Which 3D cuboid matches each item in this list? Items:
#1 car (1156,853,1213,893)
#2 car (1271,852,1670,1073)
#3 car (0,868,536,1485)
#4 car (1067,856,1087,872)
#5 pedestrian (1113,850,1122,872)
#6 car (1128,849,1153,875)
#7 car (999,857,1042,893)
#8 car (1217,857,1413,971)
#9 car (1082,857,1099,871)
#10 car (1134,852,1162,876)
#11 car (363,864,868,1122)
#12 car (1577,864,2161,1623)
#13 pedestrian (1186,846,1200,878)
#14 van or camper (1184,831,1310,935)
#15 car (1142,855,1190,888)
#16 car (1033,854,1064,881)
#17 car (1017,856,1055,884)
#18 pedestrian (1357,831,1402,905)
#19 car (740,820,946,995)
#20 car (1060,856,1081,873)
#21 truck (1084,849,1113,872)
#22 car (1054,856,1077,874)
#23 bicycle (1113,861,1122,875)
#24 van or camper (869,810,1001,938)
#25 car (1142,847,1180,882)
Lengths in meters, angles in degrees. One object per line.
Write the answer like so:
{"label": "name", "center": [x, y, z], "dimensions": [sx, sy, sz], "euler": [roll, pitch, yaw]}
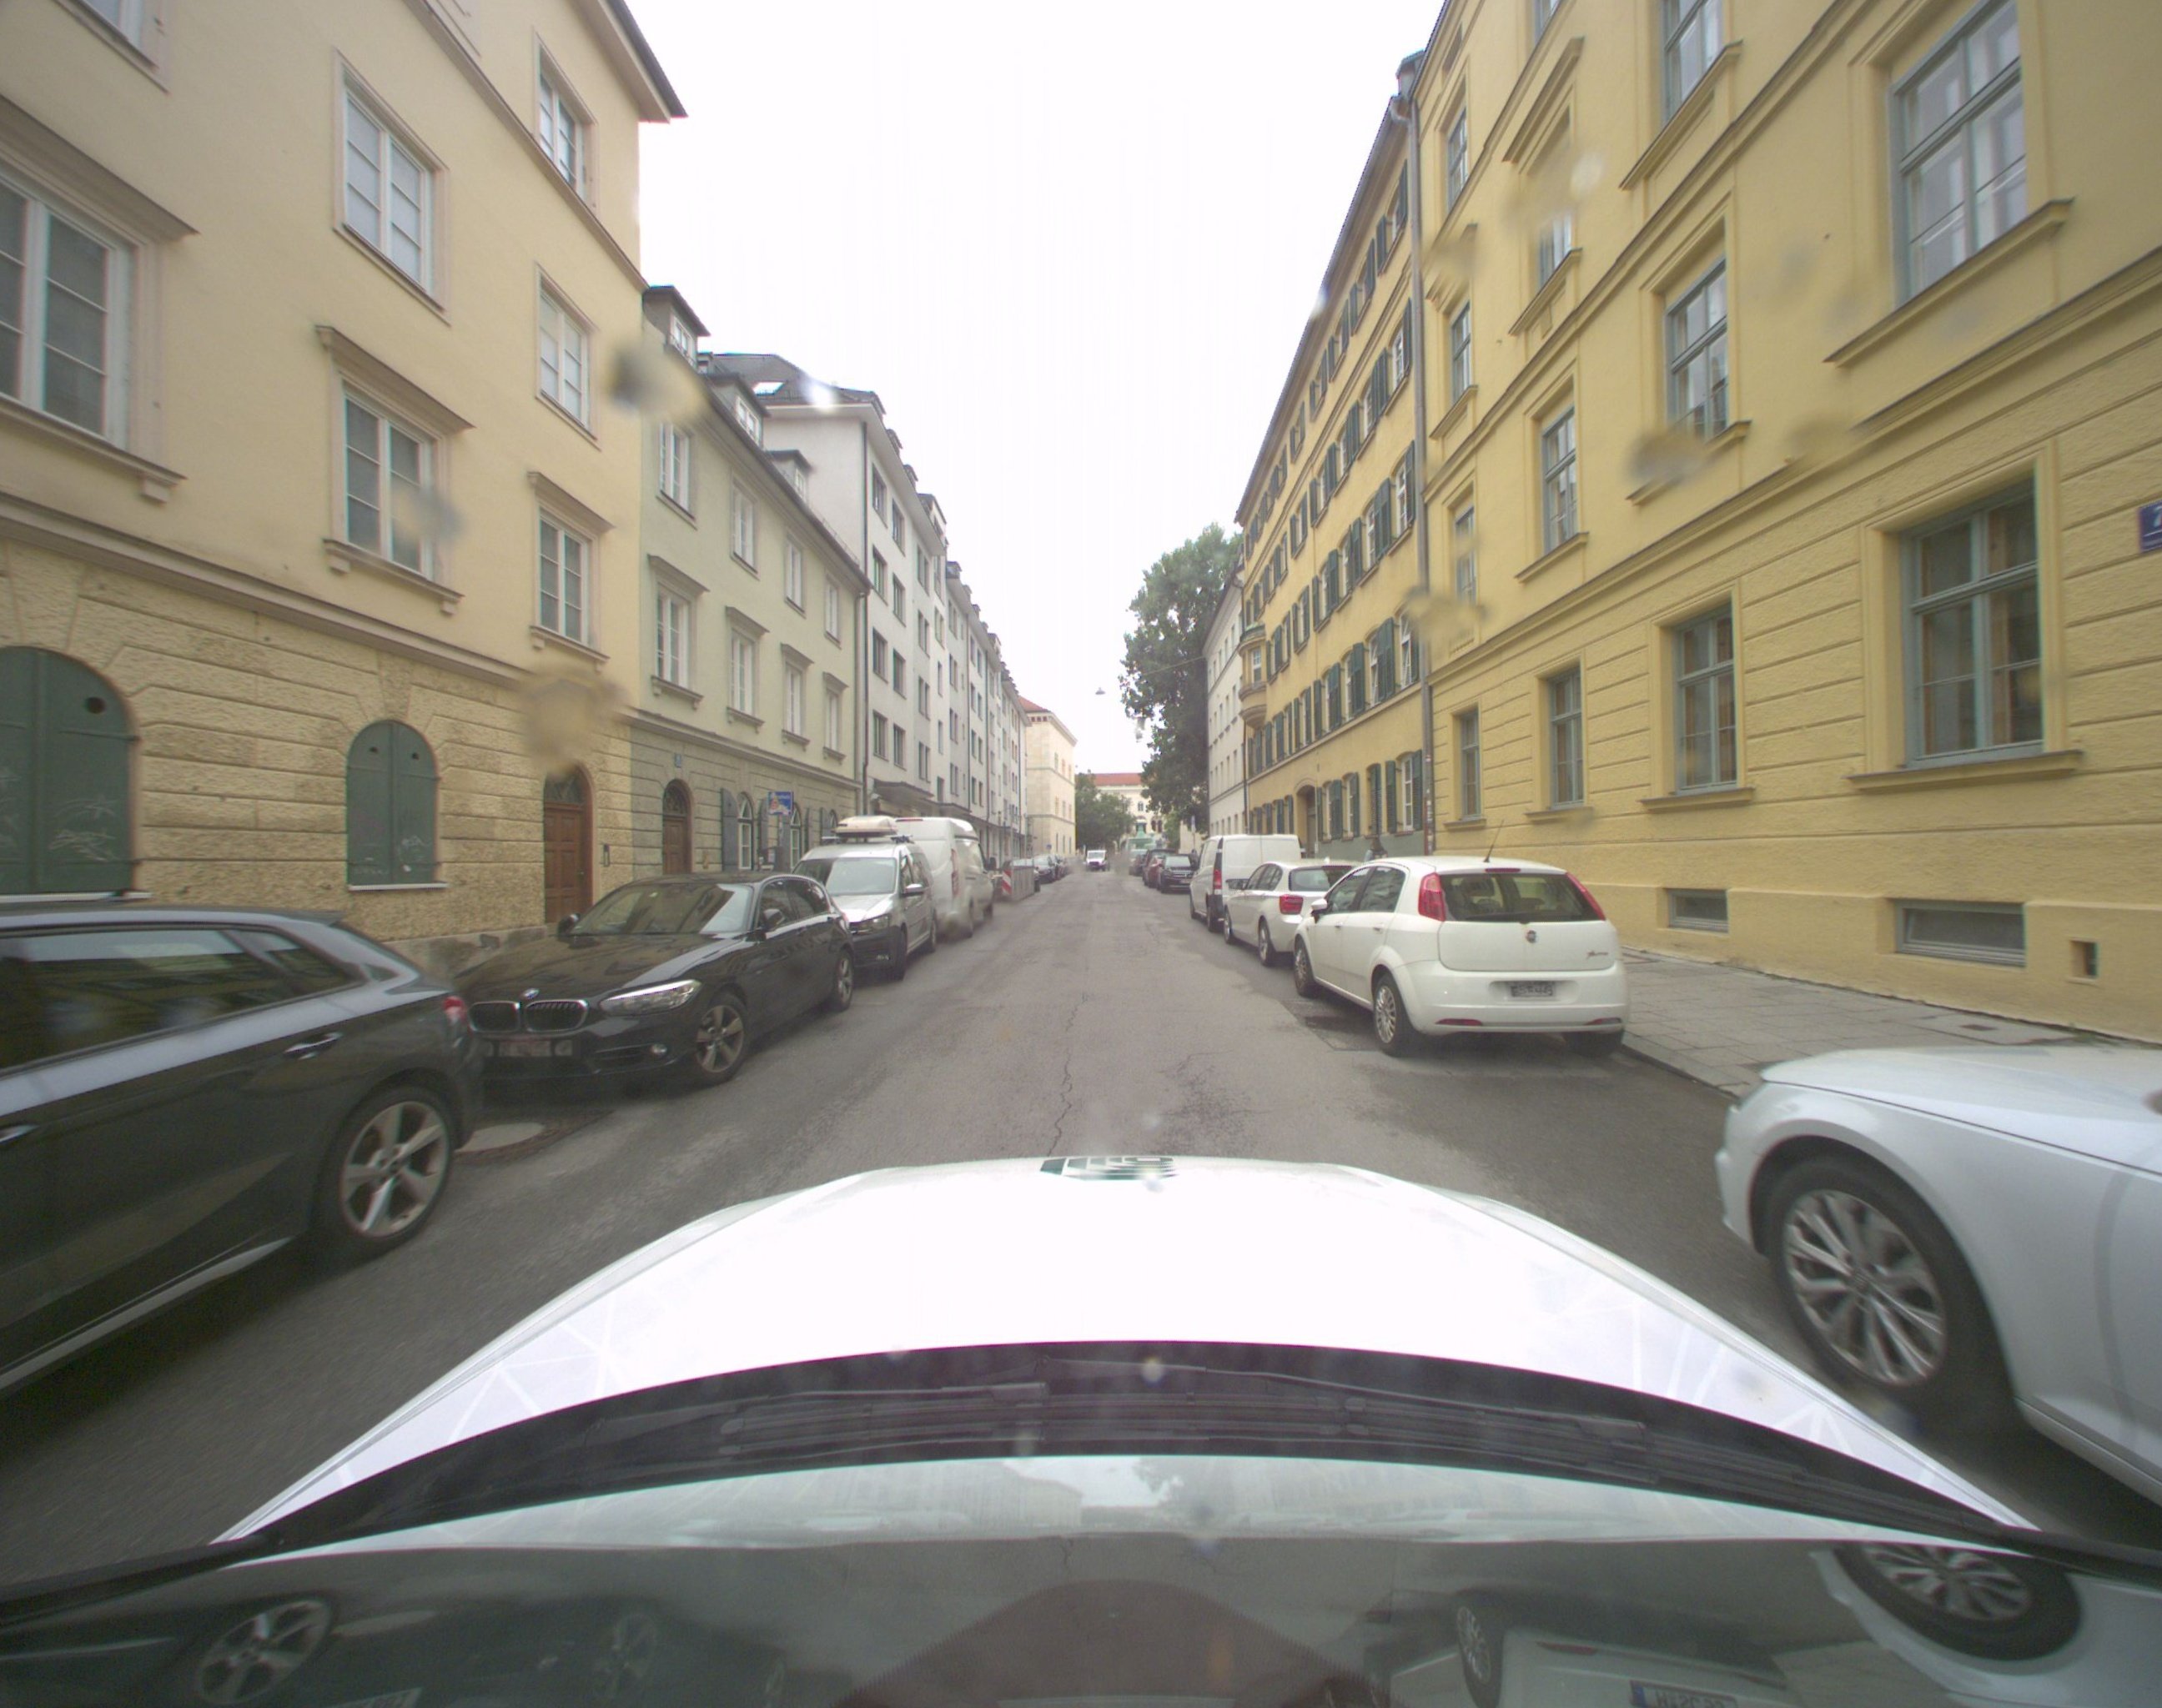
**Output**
{"label": "car", "center": [3.979, 0.698, 31.803], "dimensions": [1.805, 1.465, 4.248], "euler": [0, 0, 2]}
{"label": "car", "center": [3.082, 0.728, 7.488], "dimensions": [1.703, 1.454, 4.095], "euler": [-1, 0, 0]}
{"label": "car", "center": [-3.523, 0.826, 1.863], "dimensions": [1.811, 1.441, 4.128], "euler": [-2, 0, -2]}
{"label": "car", "center": [-0.425, 0.992, 85.057], "dimensions": [1.699, 1.581, 3.867], "euler": [-2, 0, 4]}
{"label": "pedestrian", "center": [2.852, 0.563, 63.813], "dimensions": [0.639, 1.714, 0.843], "euler": [-1, -2, 2]}
{"label": "car", "center": [4.656, 0.636, 64.277], "dimensions": [1.844, 1.919, 4.772], "euler": [-1, 0, 2]}
{"label": "car", "center": [-2.699, 0.875, 35.719], "dimensions": [1.759, 1.410, 4.147], "euler": [-2, 0, -6]}
{"label": "car", "center": [3.247, 0.750, 12.177], "dimensions": [1.703, 1.392, 4.205], "euler": [-1, 0, 0]}
{"label": "car", "center": [1.127, 1.114, 93.607], "dimensions": [1.699, 1.581, 3.867], "euler": [-2, 0, 4]}
{"label": "car", "center": [4.723, 0.728, 58.239], "dimensions": [1.804, 1.614, 4.158], "euler": [-1, 0, 2]}
{"label": "car", "center": [-3.189, 0.815, 6.690], "dimensions": [1.749, 1.409, 4.103], "euler": [-1, 0, 0]}
{"label": "car", "center": [2.878, 0.747, 1.035], "dimensions": [1.701, 1.408, 4.817], "euler": [-1, 0, 2]}
{"label": "pedestrian", "center": [7.206, 0.526, 52.348], "dimensions": [0.667, 1.980, 0.709], "euler": [-4, -2, 2]}
{"label": "van or camper", "center": [3.342, 0.532, 17.384], "dimensions": [1.826, 1.872, 5.081], "euler": [-1, 0, 2]}
{"label": "car", "center": [3.842, 0.754, 37.330], "dimensions": [1.806, 1.424, 4.246], "euler": [0, 0, 0]}
{"label": "car", "center": [-2.011, 0.826, 51.137], "dimensions": [1.700, 1.609, 3.863], "euler": [-2, 0, 1]}
{"label": "car", "center": [-2.453, 0.862, 45.402], "dimensions": [1.811, 1.444, 3.819], "euler": [-2, 0, 1]}
{"label": "pedestrian", "center": [6.607, 0.321, 18.072], "dimensions": [0.658, 1.571, 0.642], "euler": [-4, -2, 1]}
{"label": "car", "center": [-3.127, 0.628, 11.709], "dimensions": [1.750, 1.995, 4.621], "euler": [-1, 0, -2]}
{"label": "car", "center": [-0.973, 1.000, 79.005], "dimensions": [1.699, 1.609, 3.867], "euler": [-2, 0, 4]}
{"label": "truck", "center": [1.858, 0.706, 85.843], "dimensions": [2.108, 2.247, 6.201], "euler": [-1, -1, 9]}
{"label": "car", "center": [-1.363, 0.978, 74.116], "dimensions": [1.699, 1.609, 3.867], "euler": [-2, 0, 4]}
{"label": "bicycle", "center": [2.867, 1.108, 63.789], "dimensions": [0.673, 1.095, 1.761], "euler": [-1, -1, 3]}
{"label": "van or camper", "center": [-2.896, 0.373, 17.317], "dimensions": [1.748, 2.281, 5.274], "euler": [-1, 0, 1]}
{"label": "car", "center": [4.291, 0.571, 44.328], "dimensions": [1.804, 1.797, 4.249], "euler": [0, 0, 2]}
